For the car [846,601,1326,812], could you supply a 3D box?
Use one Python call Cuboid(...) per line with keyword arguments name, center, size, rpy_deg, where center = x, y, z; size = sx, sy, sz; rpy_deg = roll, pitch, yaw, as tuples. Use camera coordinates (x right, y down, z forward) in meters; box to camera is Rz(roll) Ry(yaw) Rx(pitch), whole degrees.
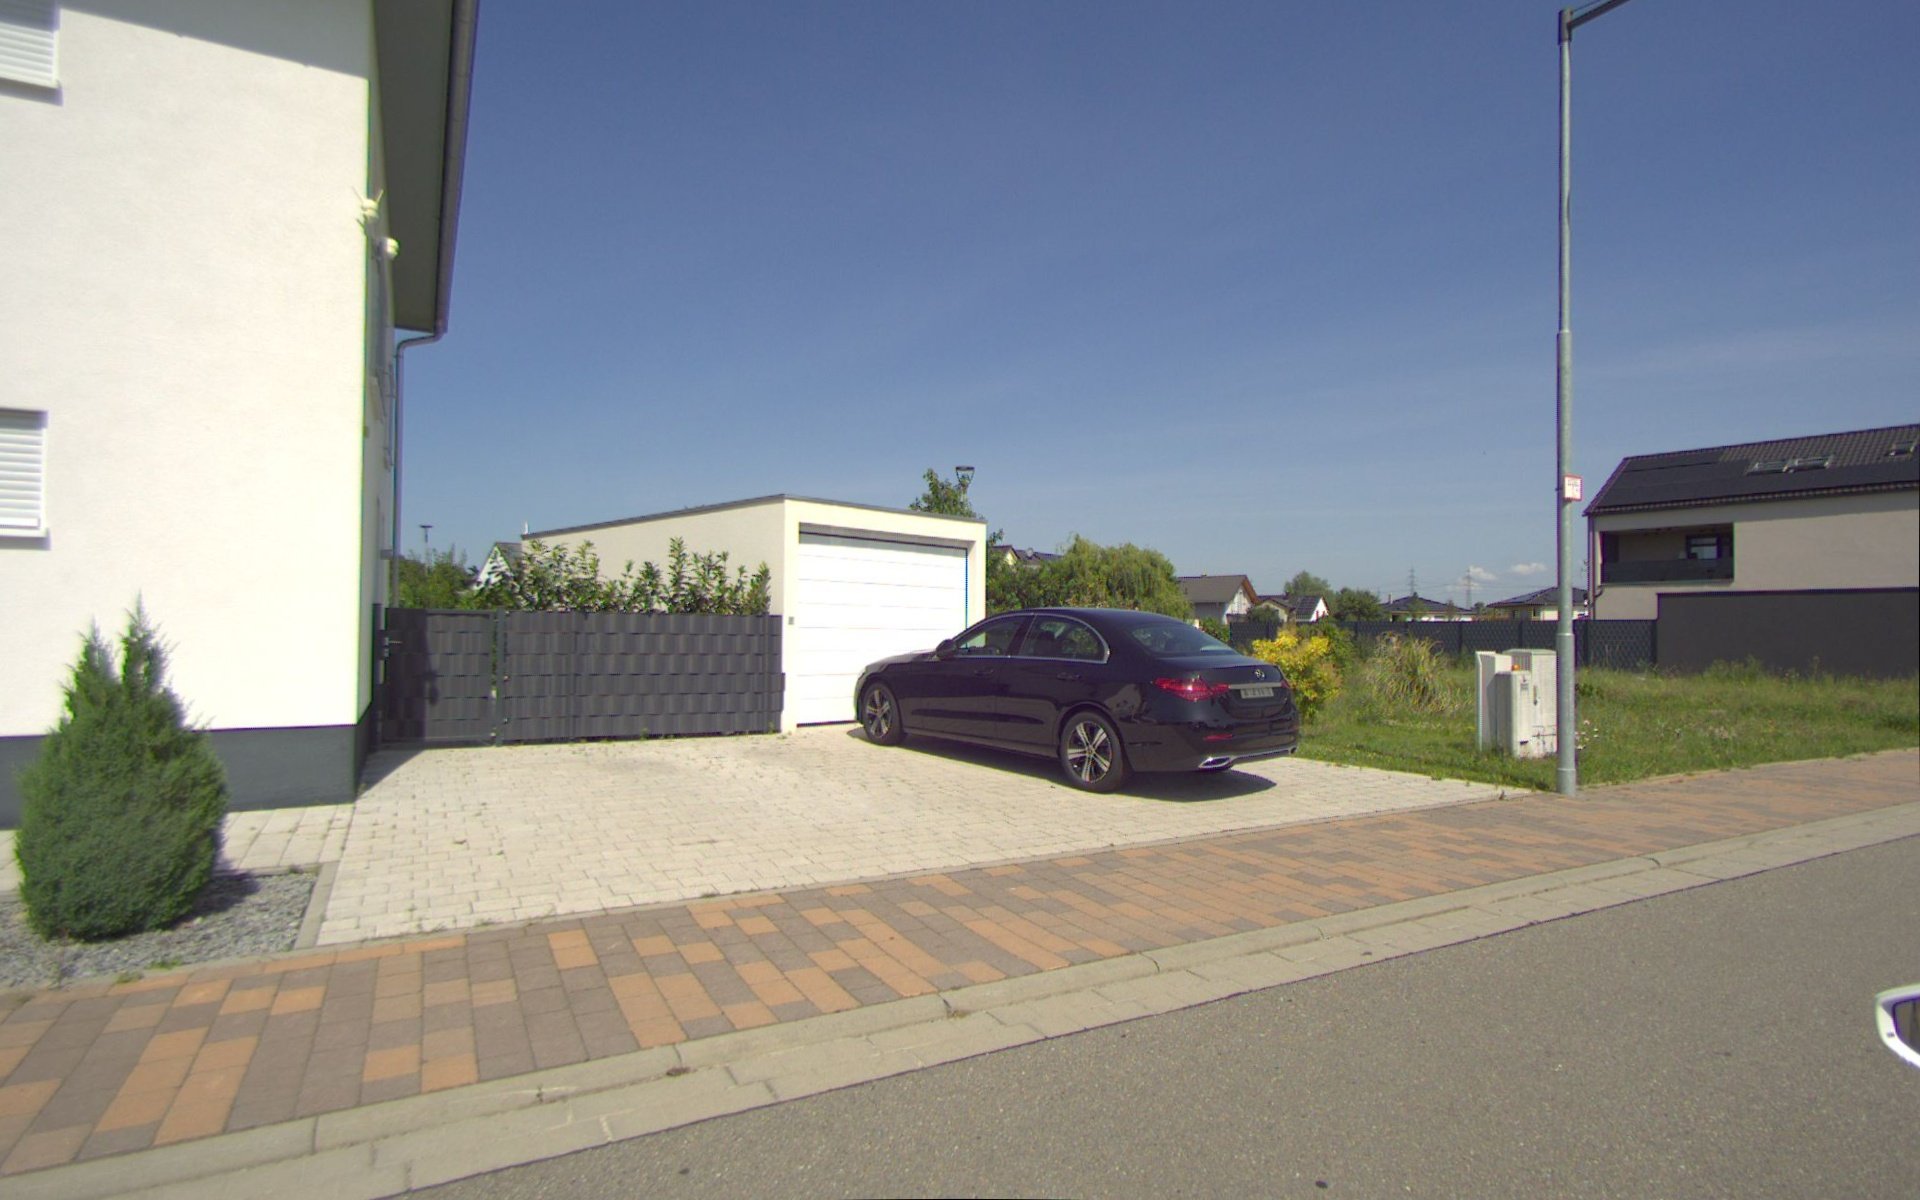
Cuboid(name="car", center=(0.922, 0.776, 9.315), size=(1.736, 1.471, 4.353), rpy_deg=(2, -1, -42))
